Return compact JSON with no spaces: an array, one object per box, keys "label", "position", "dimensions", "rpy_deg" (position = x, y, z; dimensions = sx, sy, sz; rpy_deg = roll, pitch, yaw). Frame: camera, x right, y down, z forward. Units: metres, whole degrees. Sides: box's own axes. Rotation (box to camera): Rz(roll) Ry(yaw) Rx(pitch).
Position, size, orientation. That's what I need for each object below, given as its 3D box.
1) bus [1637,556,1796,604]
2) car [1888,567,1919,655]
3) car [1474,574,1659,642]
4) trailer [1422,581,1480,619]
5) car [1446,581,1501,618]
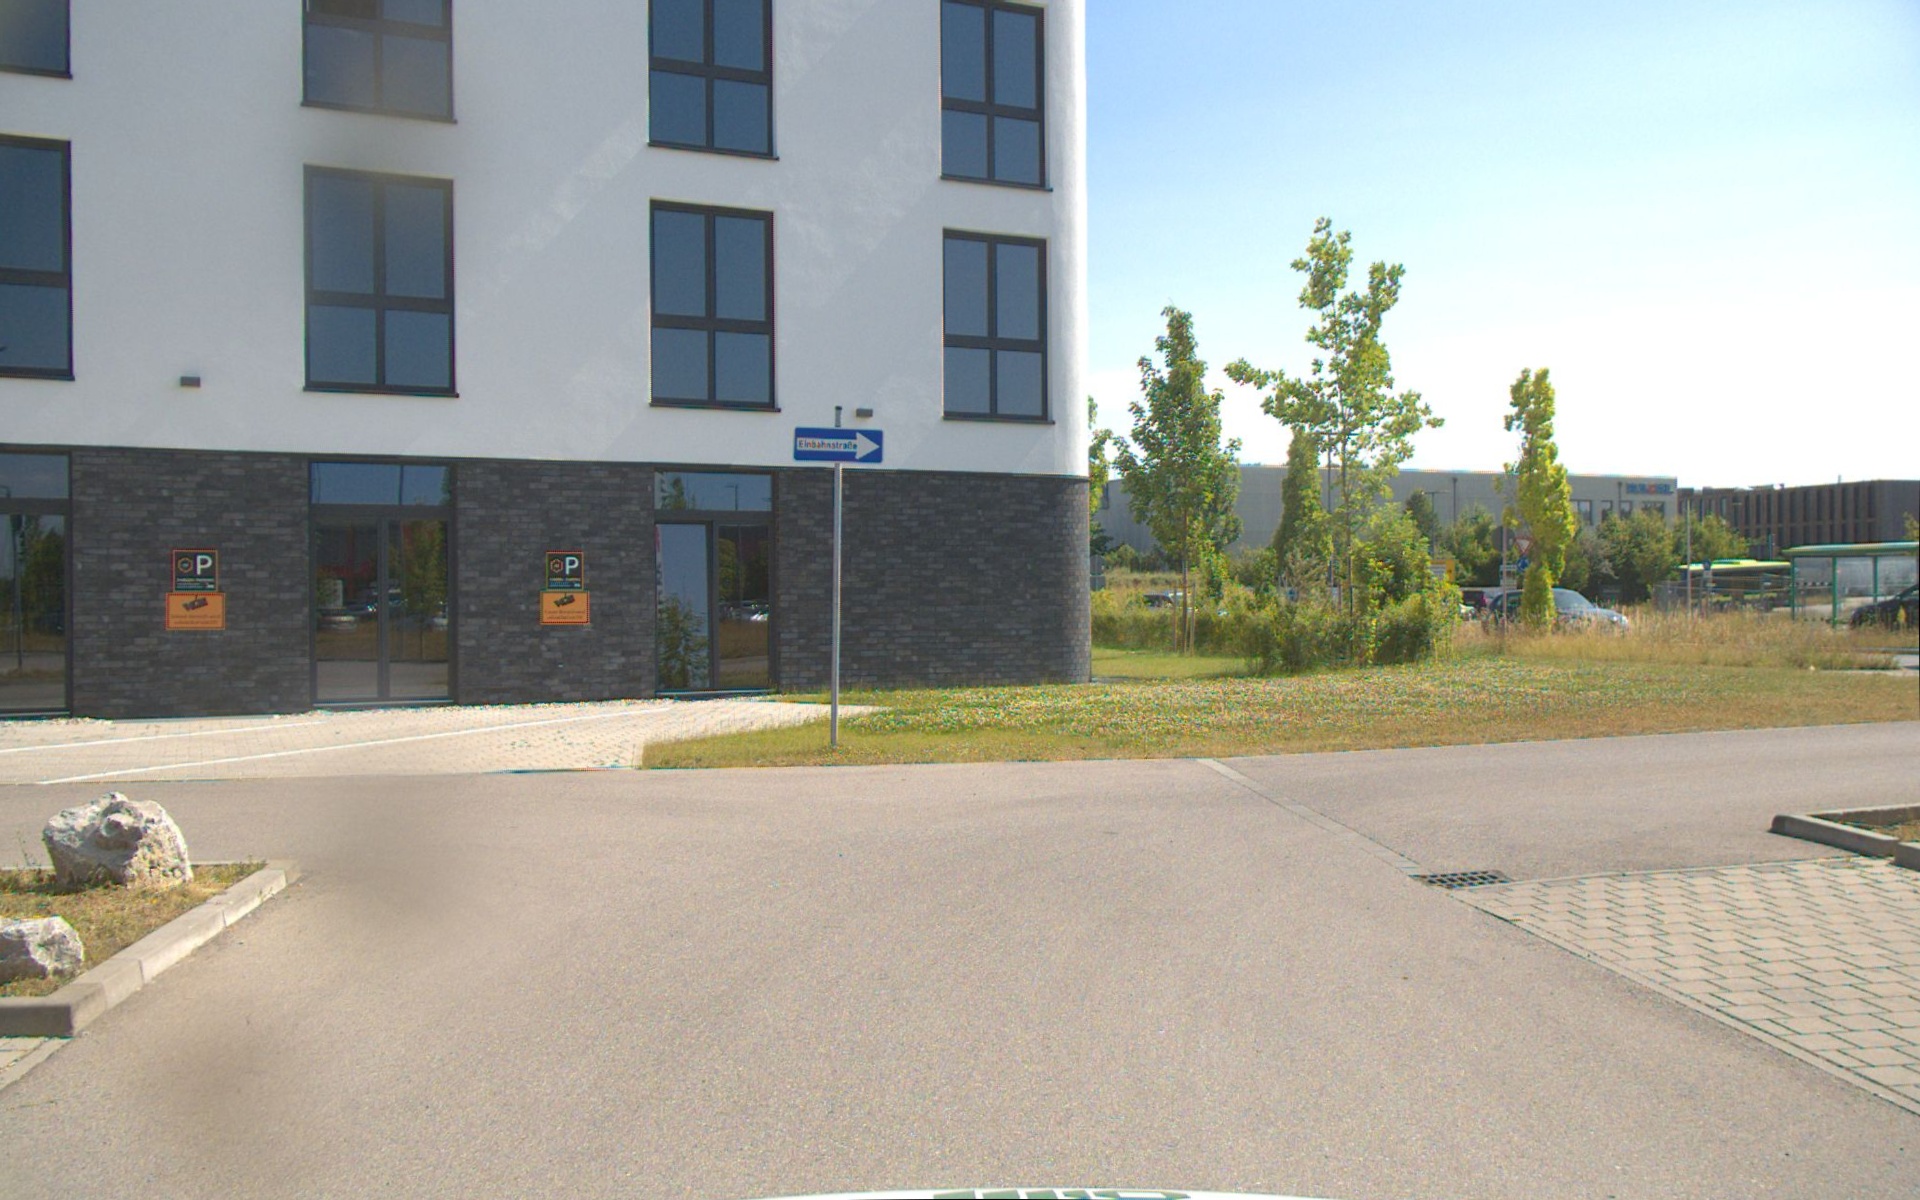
[{"label":"bus","position":[46.029,-1.280,100.479],"dimensions":[11.404,2.783,2.556],"rpy_deg":[-1,1,-29]},{"label":"car","position":[18.476,0.214,28.981],"dimensions":[1.707,1.578,3.767],"rpy_deg":[0,1,-16]},{"label":"car","position":[14.925,0.156,40.952],"dimensions":[1.881,1.578,4.359],"rpy_deg":[0,1,-22]},{"label":"trailer","position":[25.083,-0.036,84.391],"dimensions":[1.790,1.892,3.989],"rpy_deg":[1,1,33]},{"label":"car","position":[27.253,-0.065,87.668],"dimensions":[1.790,1.892,3.989],"rpy_deg":[1,1,33]}]
